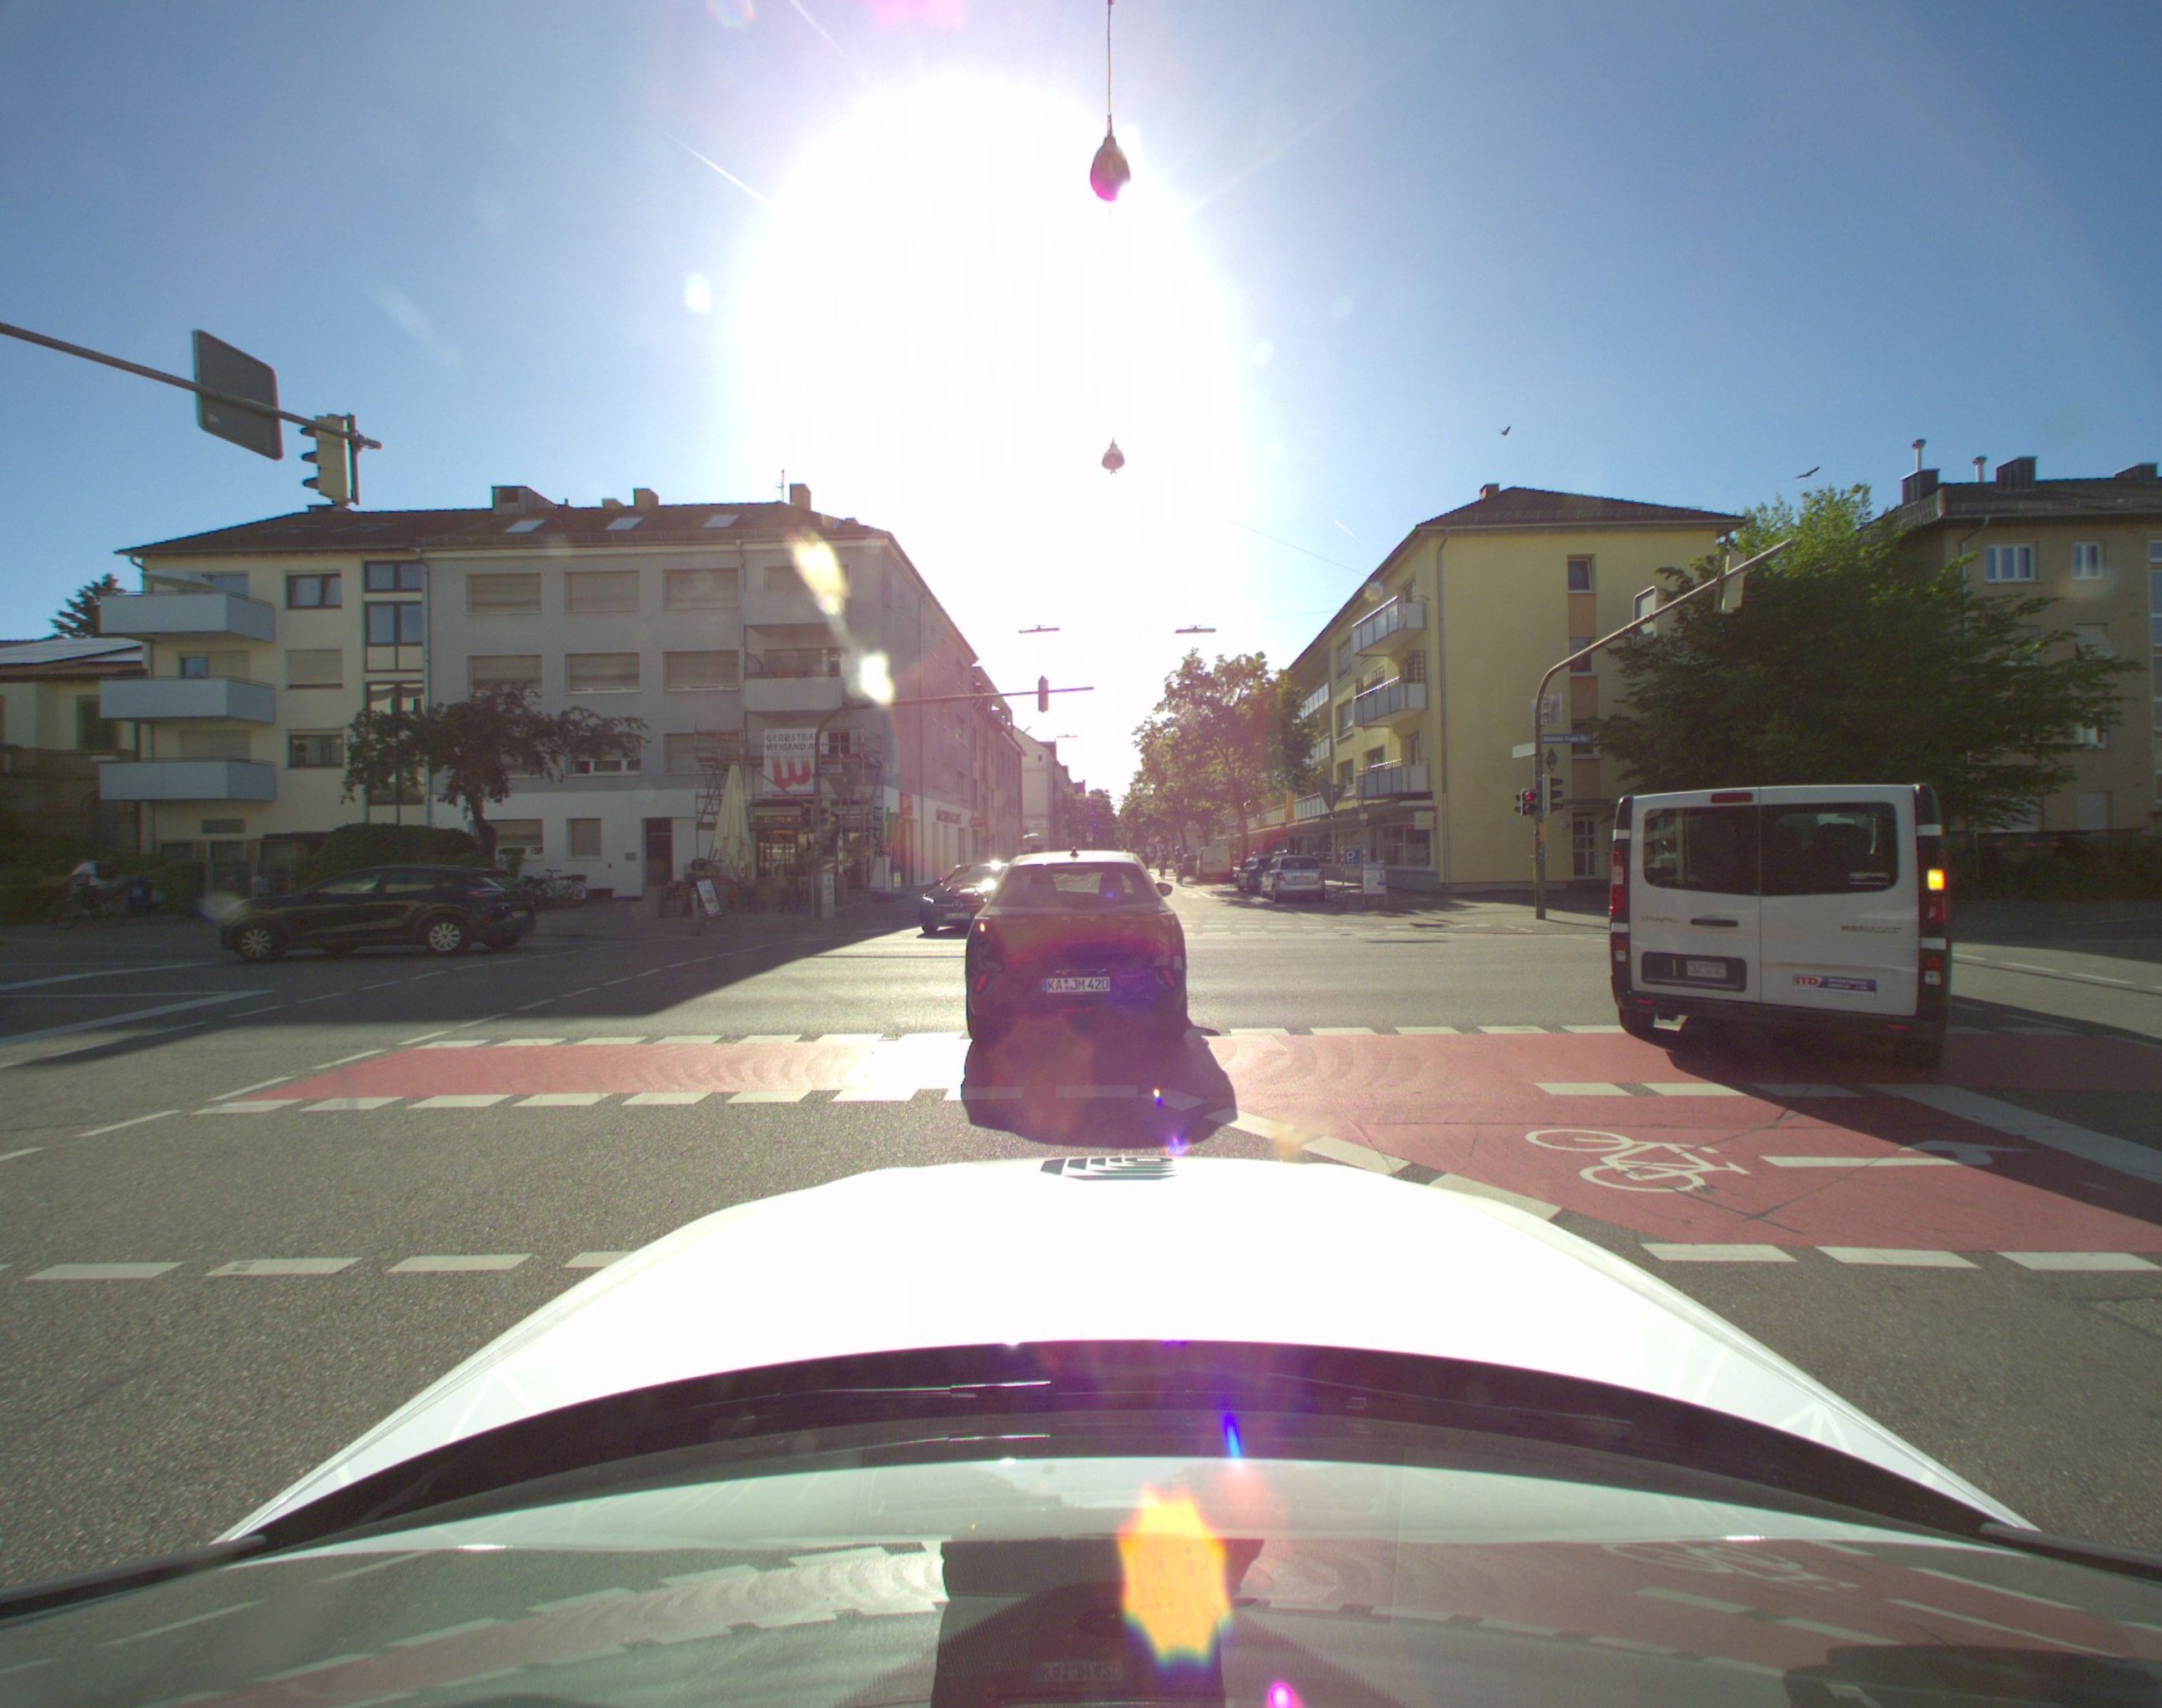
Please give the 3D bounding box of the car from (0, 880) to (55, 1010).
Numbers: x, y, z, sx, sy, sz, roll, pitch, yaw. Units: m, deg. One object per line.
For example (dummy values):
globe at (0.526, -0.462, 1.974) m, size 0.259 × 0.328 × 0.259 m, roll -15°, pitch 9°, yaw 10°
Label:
car at (-14.463, 1.099, 8.864) m, size 4.235 × 1.435 × 1.937 m, roll 0°, pitch 3°, yaw 4°

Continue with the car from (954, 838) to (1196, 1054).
car at (0.031, 0.687, 7.988) m, size 1.755 × 1.558 × 4.002 m, roll -1°, pitch 0°, yaw 2°

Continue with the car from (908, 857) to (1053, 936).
car at (-2.032, 0.840, 17.996) m, size 1.793 × 1.413 × 4.440 m, roll -3°, pitch 0°, yaw 11°

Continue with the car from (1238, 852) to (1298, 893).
car at (7.260, 0.695, 31.899) m, size 1.706 × 1.483 × 3.383 m, roll -1°, pitch 0°, yaw 3°

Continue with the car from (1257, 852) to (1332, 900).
car at (7.059, 0.691, 27.233) m, size 1.706 × 1.483 × 3.482 m, roll -1°, pitch 0°, yaw 3°

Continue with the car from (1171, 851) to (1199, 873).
car at (7.373, 0.536, 58.170) m, size 1.706 × 1.483 × 3.383 m, roll -1°, pitch 0°, yaw 3°

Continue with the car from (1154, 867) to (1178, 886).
car at (6.710, 1.770, 64.684) m, size 1.706 × 1.314 × 3.383 m, roll -1°, pitch 0°, yaw 3°

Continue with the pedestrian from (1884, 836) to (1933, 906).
pedestrian at (18.777, 0.377, 18.496) m, size 0.537 × 1.571 × 0.539 m, roll -1°, pitch 0°, yaw 2°

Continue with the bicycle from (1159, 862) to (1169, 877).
bicycle at (4.919, 0.913, 48.416) m, size 0.544 × 0.866 × 1.878 m, roll -1°, pitch 0°, yaw 4°

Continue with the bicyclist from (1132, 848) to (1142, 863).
bicyclist at (5.190, 0.123, 75.480) m, size 0.853 × 1.314 × 1.211 m, roll 1°, pitch 0°, yaw 2°

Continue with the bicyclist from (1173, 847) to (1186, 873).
bicyclist at (4.753, 0.282, 39.357) m, size 0.544 × 1.262 × 0.803 m, roll -1°, pitch 0°, yaw 3°

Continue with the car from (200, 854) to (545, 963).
car at (-11.674, 0.853, 13.712) m, size 4.078 × 1.566 × 1.590 m, roll -2°, pitch -1°, yaw -12°

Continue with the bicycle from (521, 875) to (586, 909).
bicycle at (-15.549, 1.120, 24.006) m, size 1.581 × 0.940 × 0.513 m, roll -1°, pitch 0°, yaw 4°

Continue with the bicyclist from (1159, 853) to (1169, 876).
bicyclist at (4.928, 0.610, 48.499) m, size 0.544 × 1.382 × 0.823 m, roll -1°, pitch 0°, yaw 3°

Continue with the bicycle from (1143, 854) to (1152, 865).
bicycle at (5.300, 0.464, 65.241) m, size 0.688 × 0.866 × 1.878 m, roll -1°, pitch 0°, yaw 3°

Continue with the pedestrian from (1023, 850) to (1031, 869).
pedestrian at (-4.364, 0.454, 65.735) m, size 0.575 × 1.467 × 0.702 m, roll -1°, pitch 0°, yaw -3°

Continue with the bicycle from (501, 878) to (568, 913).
bicycle at (-15.525, 1.163, 23.149) m, size 1.581 × 0.940 × 0.513 m, roll -1°, pitch 0°, yaw 4°

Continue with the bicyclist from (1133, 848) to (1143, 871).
bicyclist at (3.408, 0.324, 48.507) m, size 0.586 × 1.382 × 0.823 m, roll -1°, pitch 0°, yaw 3°

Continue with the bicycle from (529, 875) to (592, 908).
bicycle at (-15.761, 1.125, 24.677) m, size 1.581 × 0.940 × 0.513 m, roll -1°, pitch 0°, yaw 4°

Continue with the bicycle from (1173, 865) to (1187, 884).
bicycle at (4.760, 0.969, 39.370) m, size 0.544 × 0.866 × 1.878 m, roll -1°, pitch 0°, yaw 4°

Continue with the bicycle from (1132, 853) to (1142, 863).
bicycle at (5.186, 0.345, 75.510) m, size 0.853 × 0.945 × 2.308 m, roll 1°, pitch 0°, yaw 2°

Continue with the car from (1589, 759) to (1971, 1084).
car at (6.244, 0.419, 7.409) m, size 1.949 × 1.940 × 5.086 m, roll 0°, pitch 0°, yaw 41°

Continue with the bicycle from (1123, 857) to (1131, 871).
bicycle at (3.617, 0.802, 64.093) m, size 0.630 × 1.041 × 1.796 m, roll -2°, pitch 0°, yaw 2°

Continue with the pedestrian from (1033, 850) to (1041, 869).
pedestrian at (-3.543, 0.437, 65.466) m, size 0.575 × 1.583 × 0.707 m, roll -1°, pitch 0°, yaw -3°

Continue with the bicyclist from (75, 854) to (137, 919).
bicyclist at (-23.532, 0.770, 19.660) m, size 0.809 × 1.549 × 0.555 m, roll 0°, pitch 0°, yaw 1°

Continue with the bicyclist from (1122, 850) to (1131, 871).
bicyclist at (3.584, 0.496, 63.841) m, size 0.630 × 1.669 × 1.051 m, roll -2°, pitch 0°, yaw 2°

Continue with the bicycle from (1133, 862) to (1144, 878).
bicycle at (3.408, 0.950, 48.588) m, size 0.617 × 0.866 × 1.878 m, roll -1°, pitch 0°, yaw 4°

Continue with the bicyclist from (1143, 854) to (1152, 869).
bicyclist at (5.298, 0.620, 65.091) m, size 0.689 × 1.193 × 0.595 m, roll -1°, pitch 0°, yaw 3°

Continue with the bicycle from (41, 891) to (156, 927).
bicycle at (-23.662, 1.318, 19.632) m, size 2.117 × 0.833 × 0.555 m, roll 0°, pitch 0°, yaw 1°

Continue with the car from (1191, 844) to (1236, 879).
car at (7.395, 0.403, 45.852) m, size 2.037 × 1.846 × 4.588 m, roll -1°, pitch 0°, yaw 3°
